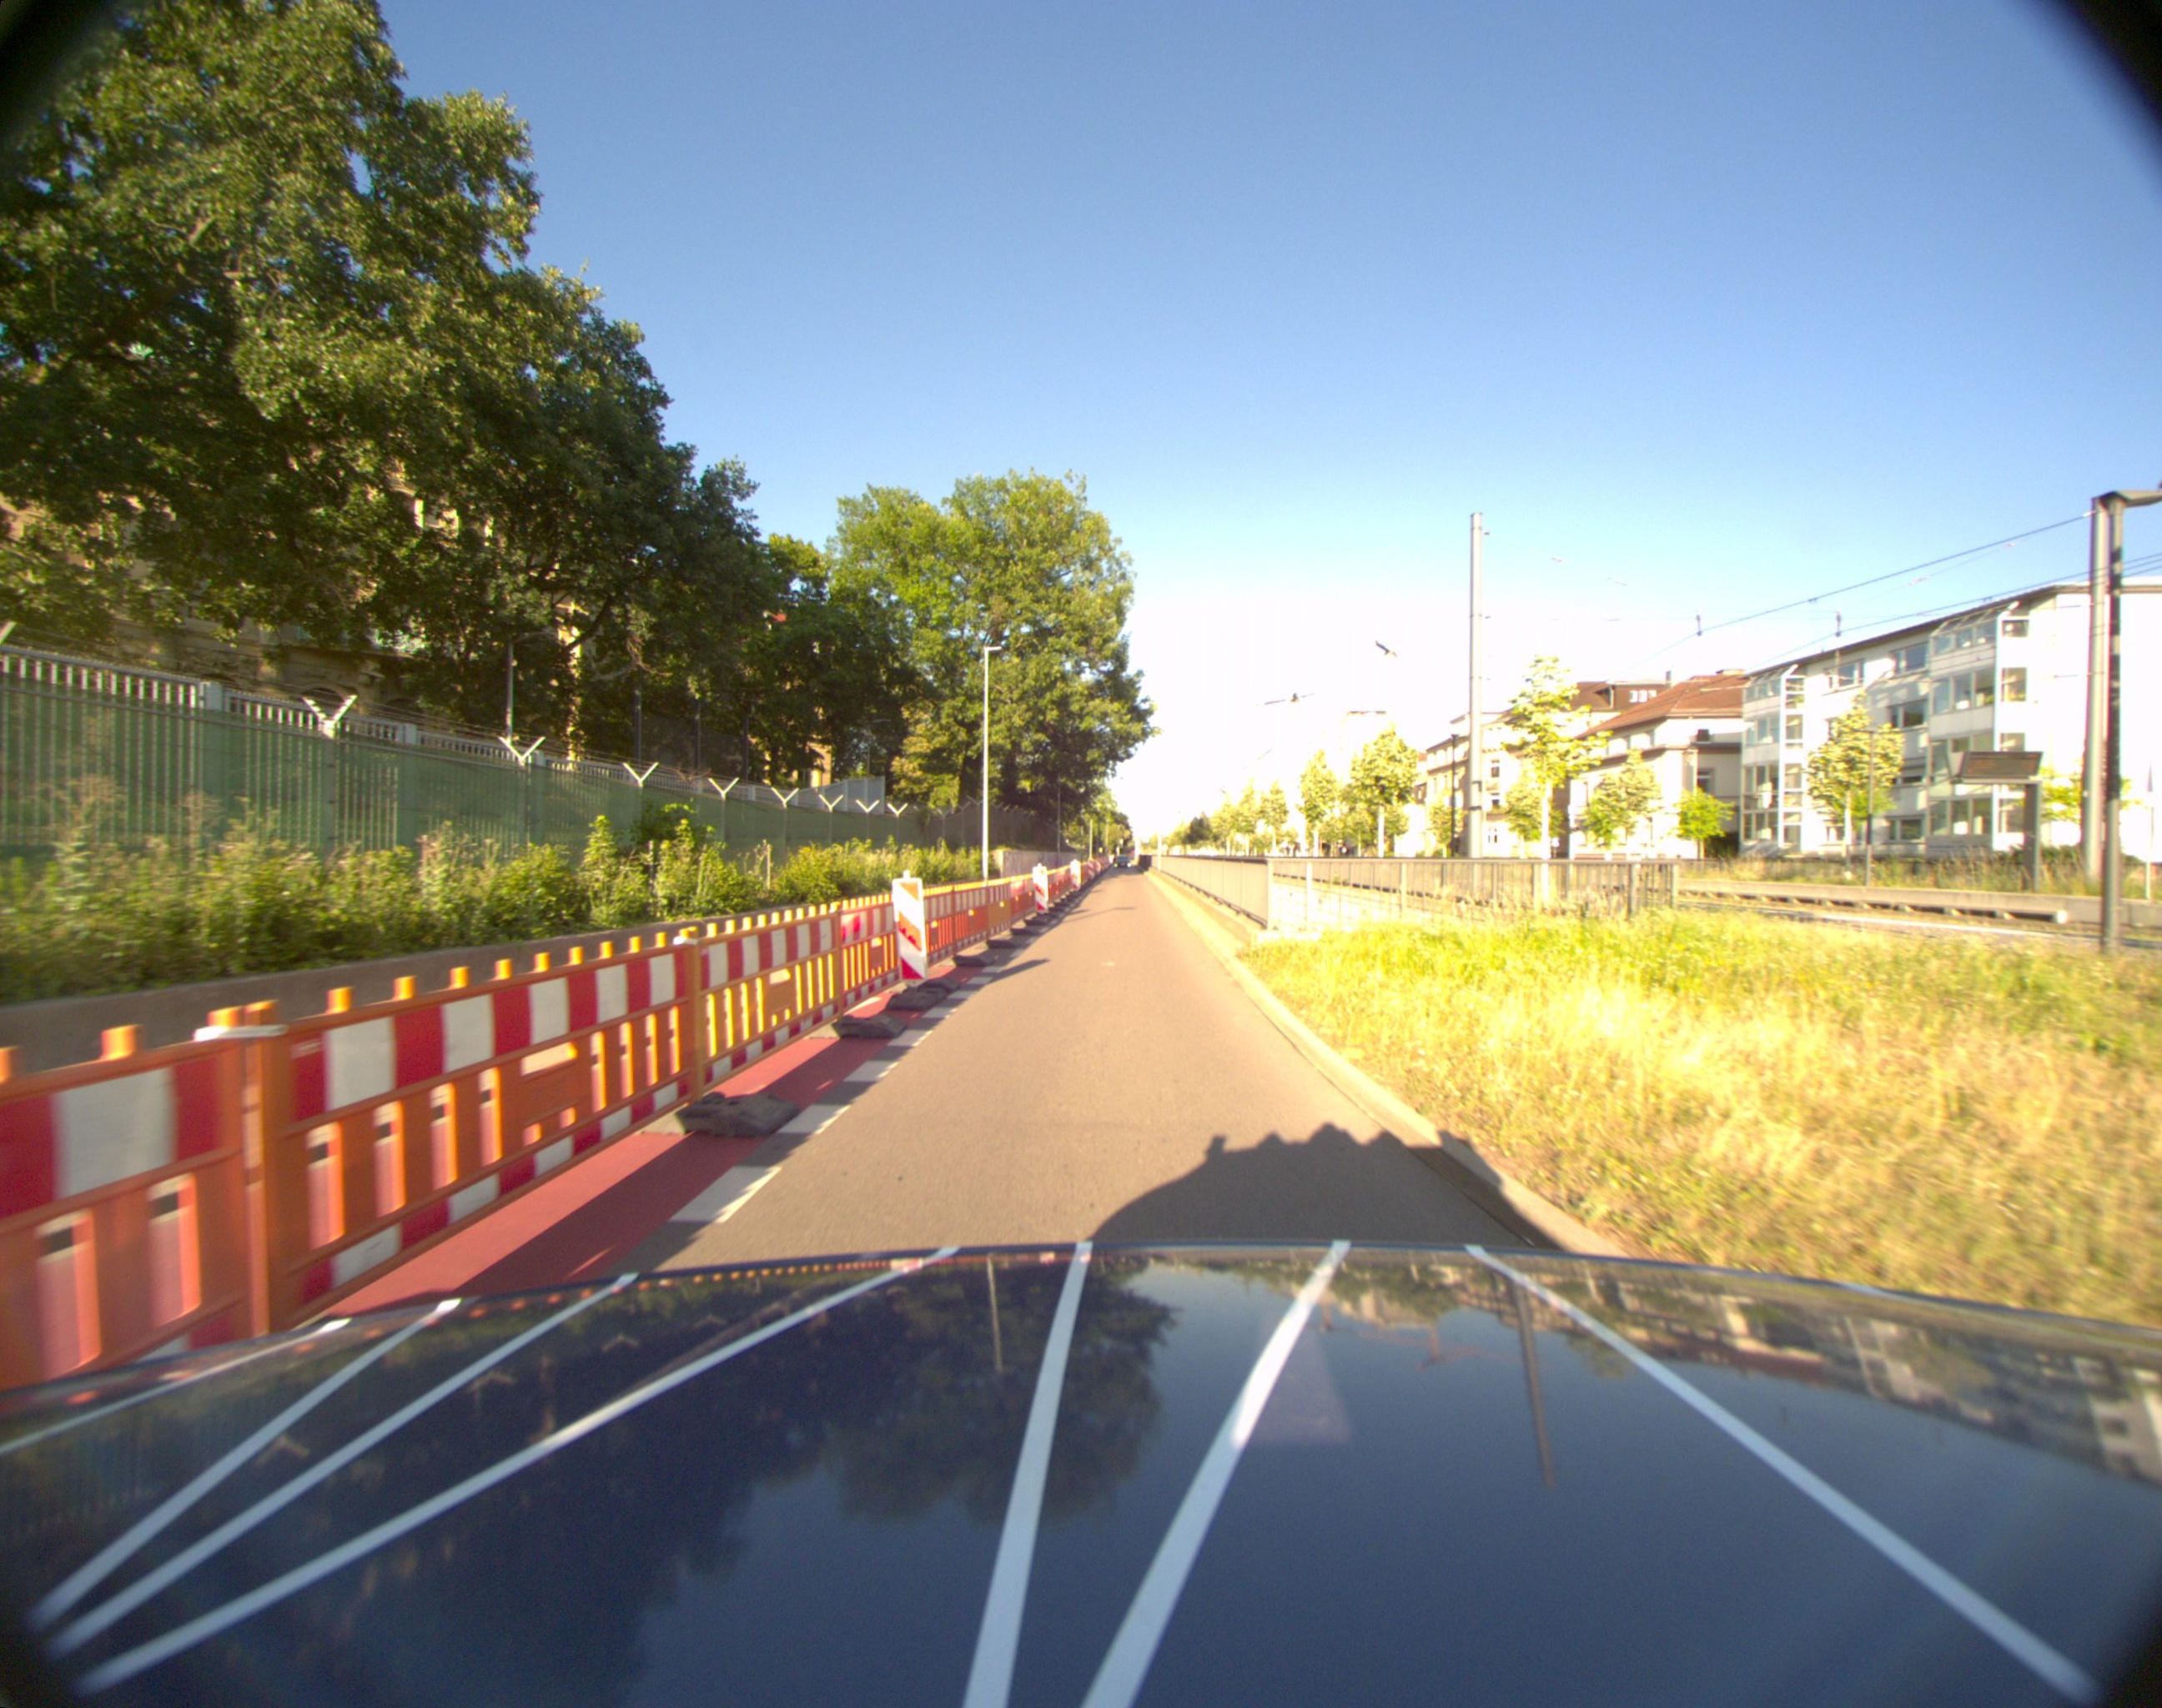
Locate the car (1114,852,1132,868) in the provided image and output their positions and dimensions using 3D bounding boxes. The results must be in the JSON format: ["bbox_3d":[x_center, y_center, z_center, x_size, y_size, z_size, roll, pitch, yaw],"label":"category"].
[{"bbox_3d":[4.960,0.651,89.151,2.080,1.827,4.001,0,0,4],"label":"car"}]
